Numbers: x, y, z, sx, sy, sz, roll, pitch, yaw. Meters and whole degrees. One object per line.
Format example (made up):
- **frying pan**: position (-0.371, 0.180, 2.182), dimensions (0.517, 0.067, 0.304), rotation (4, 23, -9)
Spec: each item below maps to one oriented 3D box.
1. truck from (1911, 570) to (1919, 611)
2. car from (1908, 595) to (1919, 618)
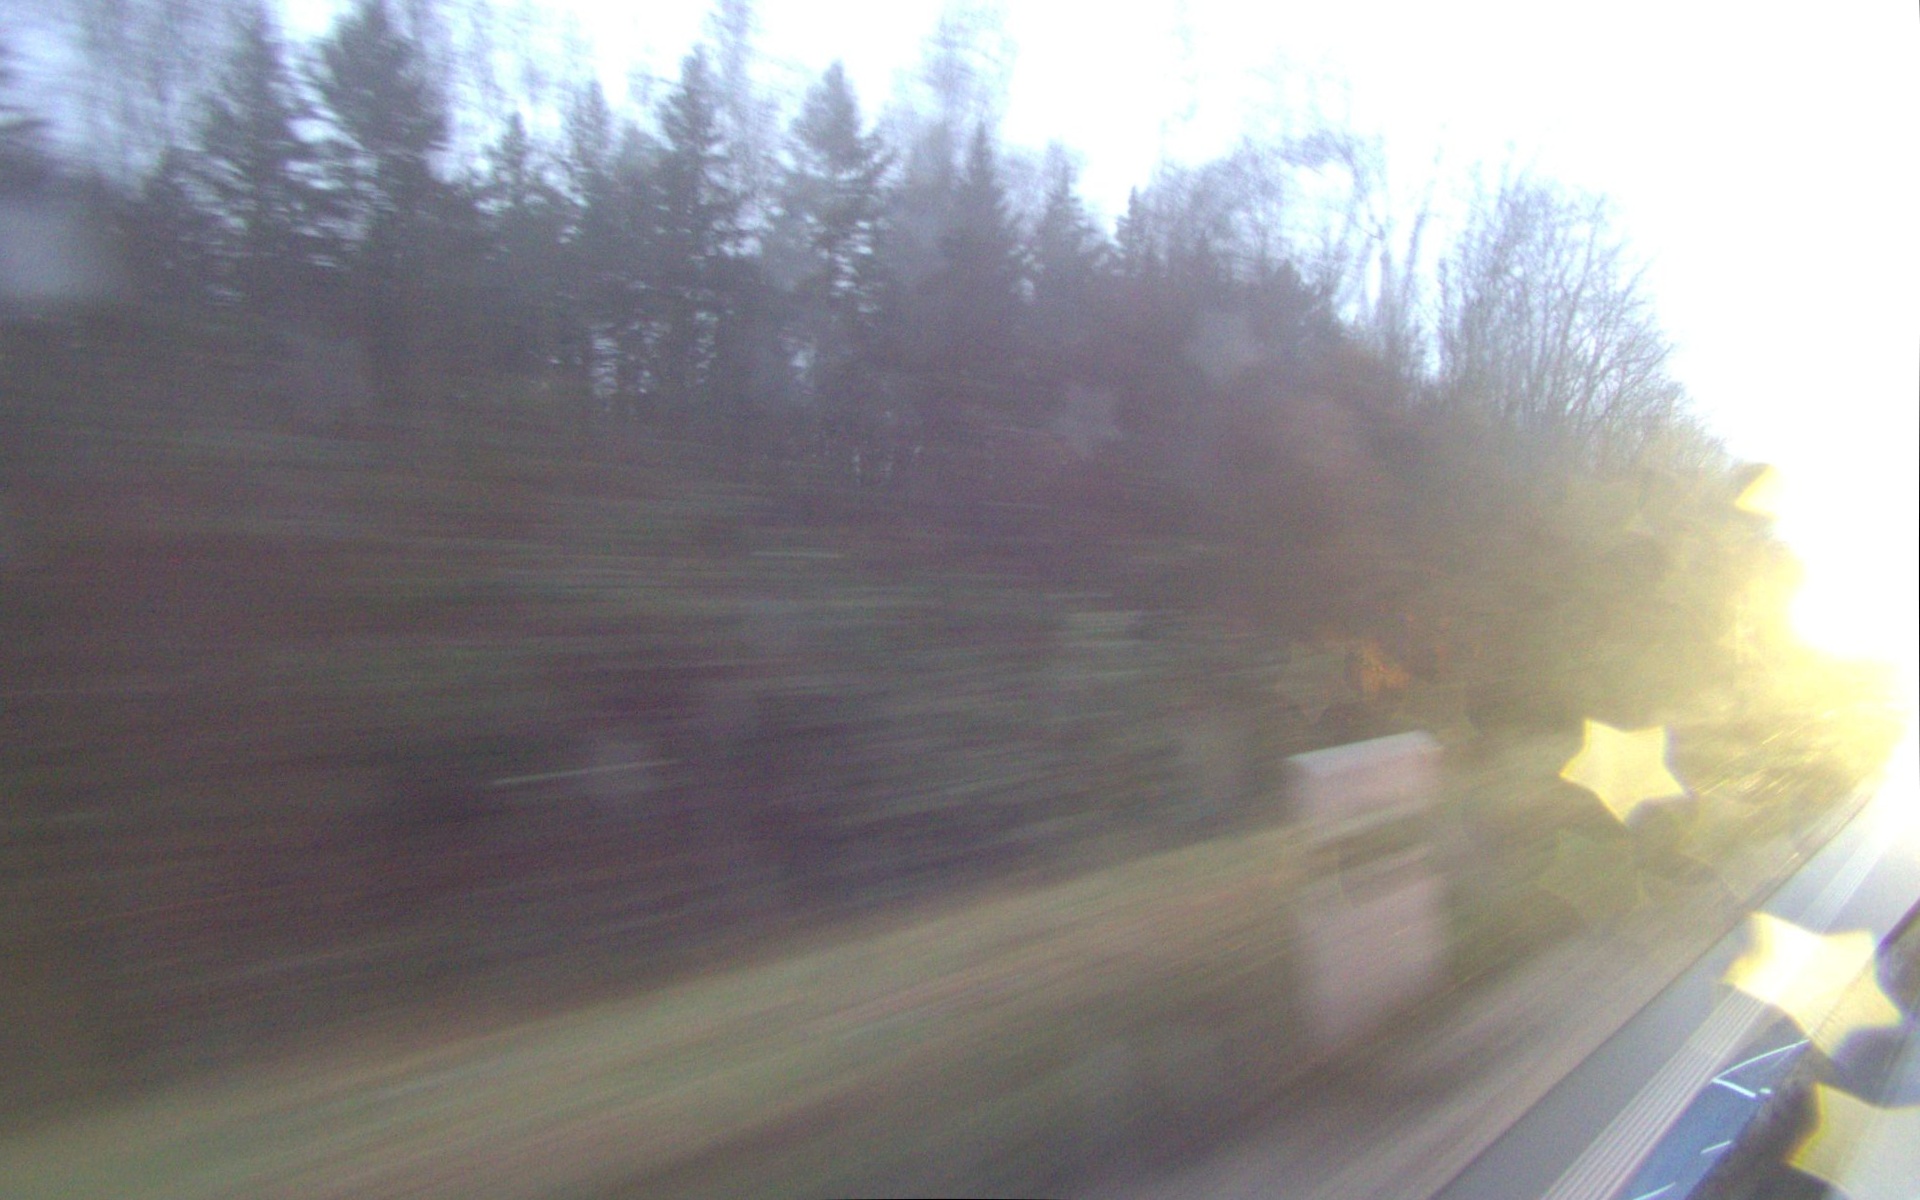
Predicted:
- **truck**: position (108.110, -1.049, 112.180), dimensions (3.343, 4.483, 11.002), rotation (-2, -1, 41)
- **car**: position (76.054, 0.497, 79.874), dimensions (1.696, 1.753, 3.939), rotation (-2, -1, 42)
